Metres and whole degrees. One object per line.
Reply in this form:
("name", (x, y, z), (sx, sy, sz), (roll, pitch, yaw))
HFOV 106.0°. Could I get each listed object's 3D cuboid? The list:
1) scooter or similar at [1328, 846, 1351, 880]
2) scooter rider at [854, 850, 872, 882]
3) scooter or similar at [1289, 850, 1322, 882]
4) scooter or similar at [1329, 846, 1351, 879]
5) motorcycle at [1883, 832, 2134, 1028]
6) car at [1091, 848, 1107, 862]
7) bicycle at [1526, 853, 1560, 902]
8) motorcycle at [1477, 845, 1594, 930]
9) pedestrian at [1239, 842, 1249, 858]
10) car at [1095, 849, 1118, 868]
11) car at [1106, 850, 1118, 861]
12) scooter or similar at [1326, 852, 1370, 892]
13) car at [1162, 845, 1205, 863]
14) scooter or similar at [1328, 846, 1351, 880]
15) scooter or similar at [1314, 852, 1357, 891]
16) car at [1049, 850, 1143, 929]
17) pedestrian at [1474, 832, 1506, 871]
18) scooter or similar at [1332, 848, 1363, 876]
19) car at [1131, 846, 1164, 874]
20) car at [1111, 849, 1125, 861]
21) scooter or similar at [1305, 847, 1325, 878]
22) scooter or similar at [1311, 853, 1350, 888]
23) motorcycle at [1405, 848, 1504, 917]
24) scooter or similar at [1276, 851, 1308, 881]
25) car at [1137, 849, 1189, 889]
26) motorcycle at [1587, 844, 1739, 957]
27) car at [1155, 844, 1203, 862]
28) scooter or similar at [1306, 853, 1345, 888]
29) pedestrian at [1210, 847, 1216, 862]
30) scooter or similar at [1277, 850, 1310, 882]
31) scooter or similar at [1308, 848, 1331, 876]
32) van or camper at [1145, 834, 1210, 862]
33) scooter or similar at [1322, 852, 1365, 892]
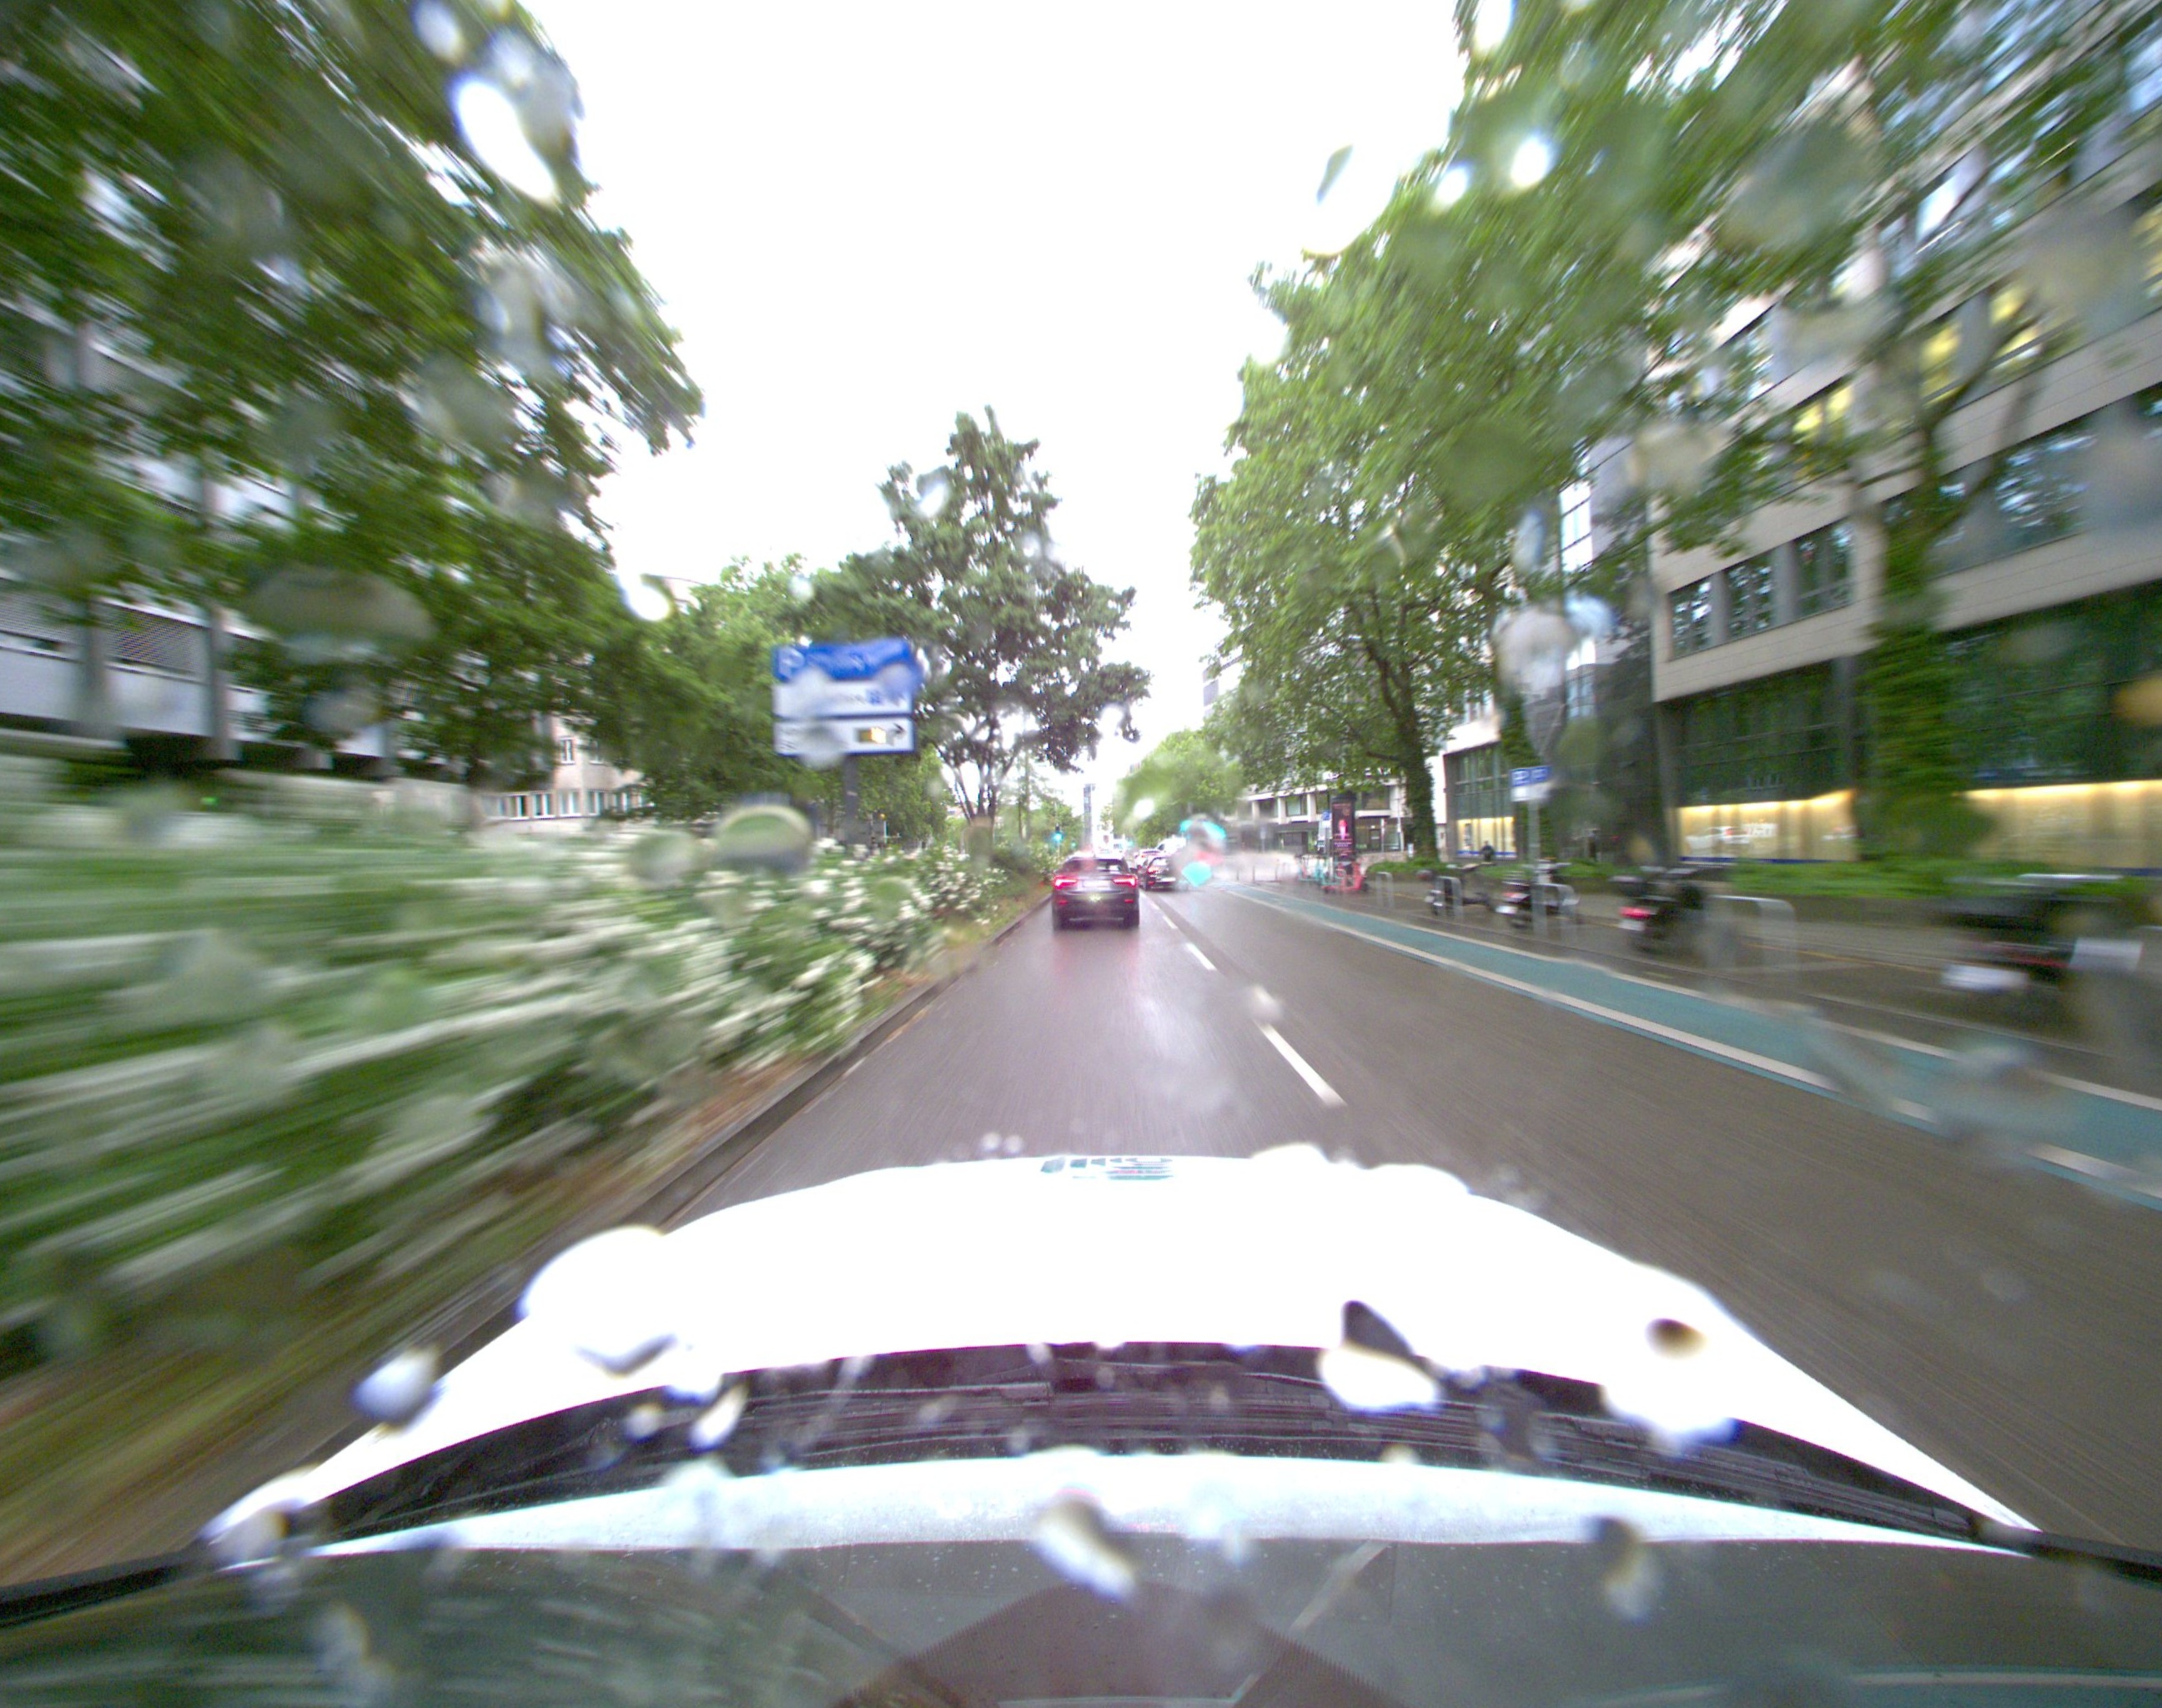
("scooter or similar", (10.261, 0.337, 32.375), (0.486, 1.259, 1.294), (-3, 2, 2))
("scooter rider", (-13.401, 0.719, 50.124), (0.897, 1.940, 0.757), (-1, 0, -2))
("scooter or similar", (9.400, 0.504, 34.163), (1.280, 1.259, 0.491), (-3, 2, 13))
("scooter or similar", (10.675, 0.343, 33.599), (0.486, 1.259, 1.294), (-3, 2, 2))
("motorcycle", (8.016, 0.580, 7.032), (2.060, 1.428, 0.724), (-4, 2, -20))
("car", (2.095, 0.099, 96.028), (1.843, 1.523, 4.040), (-1, 0, 1))
("bicycle", (10.506, 0.517, 18.501), (0.631, 1.028, 1.774), (-1, 0, 30))
("motorcycle", (8.290, 0.584, 14.857), (1.962, 1.373, 0.724), (-4, 2, -20))
("pedestrian", (16.891, -0.397, 84.407), (0.803, 1.696, 1.186), (-1, 0, -4))
("car", (2.152, 0.346, 67.875), (1.843, 1.523, 4.040), (-1, 0, 1))
("car", (4.701, 0.222, 123.440), (1.843, 1.523, 4.040), (-1, 0, 1))
("scooter or similar", (8.925, 0.597, 27.249), (1.283, 1.278, 0.538), (-3, 1, 5))
("car", (9.492, -0.019, 75.279), (3.618, 1.547, 1.723), (-1, 0, 20))
("scooter or similar", (10.261, 0.337, 32.375), (0.486, 1.259, 1.294), (-3, 2, 2))
("scooter or similar", (8.868, 0.608, 28.380), (1.289, 1.278, 0.535), (-3, 2, -10))
("car", (0.321, 0.703, 18.254), (1.843, 1.523, 4.039), (-1, 0, 1))
("pedestrian", (19.981, -0.129, 39.780), (0.914, 1.850, 1.277), (-1, -1, 1))
("scooter or similar", (11.743, 0.350, 35.918), (0.490, 1.198, 1.281), (-1, -1, -29))
("car", (4.218, 0.346, 51.927), (1.843, 1.669, 4.040), (-1, 0, 1))
("car", (4.920, 0.077, 108.805), (1.843, 1.523, 4.040), (-1, 0, 1))
("scooter or similar", (10.155, 0.366, 35.314), (0.486, 1.259, 1.294), (-3, 2, 2))
("scooter or similar", (9.353, 0.621, 30.509), (1.284, 1.235, 0.490), (-3, 1, 3))
("motorcycle", (8.302, 0.601, 18.106), (1.959, 1.373, 0.725), (-3, 2, -15))
("scooter or similar", (9.136, 0.519, 35.313), (1.280, 1.259, 0.491), (-3, 2, 13))
("car", (3.357, 0.584, 33.847), (1.843, 1.523, 4.040), (-1, 0, 1))
("motorcycle", (8.127, 0.608, 11.366), (1.962, 1.373, 0.724), (-4, 2, -20))
("car", (9.386, -0.077, 78.013), (4.217, 1.667, 1.829), (-1, 0, 27))
("scooter or similar", (9.373, 0.628, 31.254), (1.284, 1.235, 0.490), (-3, 1, 3))
("pedestrian", (16.147, 0.079, 99.768), (0.551, 1.805, 0.761), (-1, -1, -2))
("scooter or similar", (9.042, 0.514, 34.703), (1.280, 1.259, 0.491), (-3, 2, 13))
("scooter or similar", (10.583, 0.368, 36.163), (0.487, 1.198, 1.290), (-1, -1, -8))
("van or camper", (9.611, -0.588, 81.326), (6.008, 2.558, 2.117), (-2, 0, 28))
("scooter or similar", (8.922, 0.601, 27.694), (1.283, 1.278, 0.538), (-3, 1, 5))
